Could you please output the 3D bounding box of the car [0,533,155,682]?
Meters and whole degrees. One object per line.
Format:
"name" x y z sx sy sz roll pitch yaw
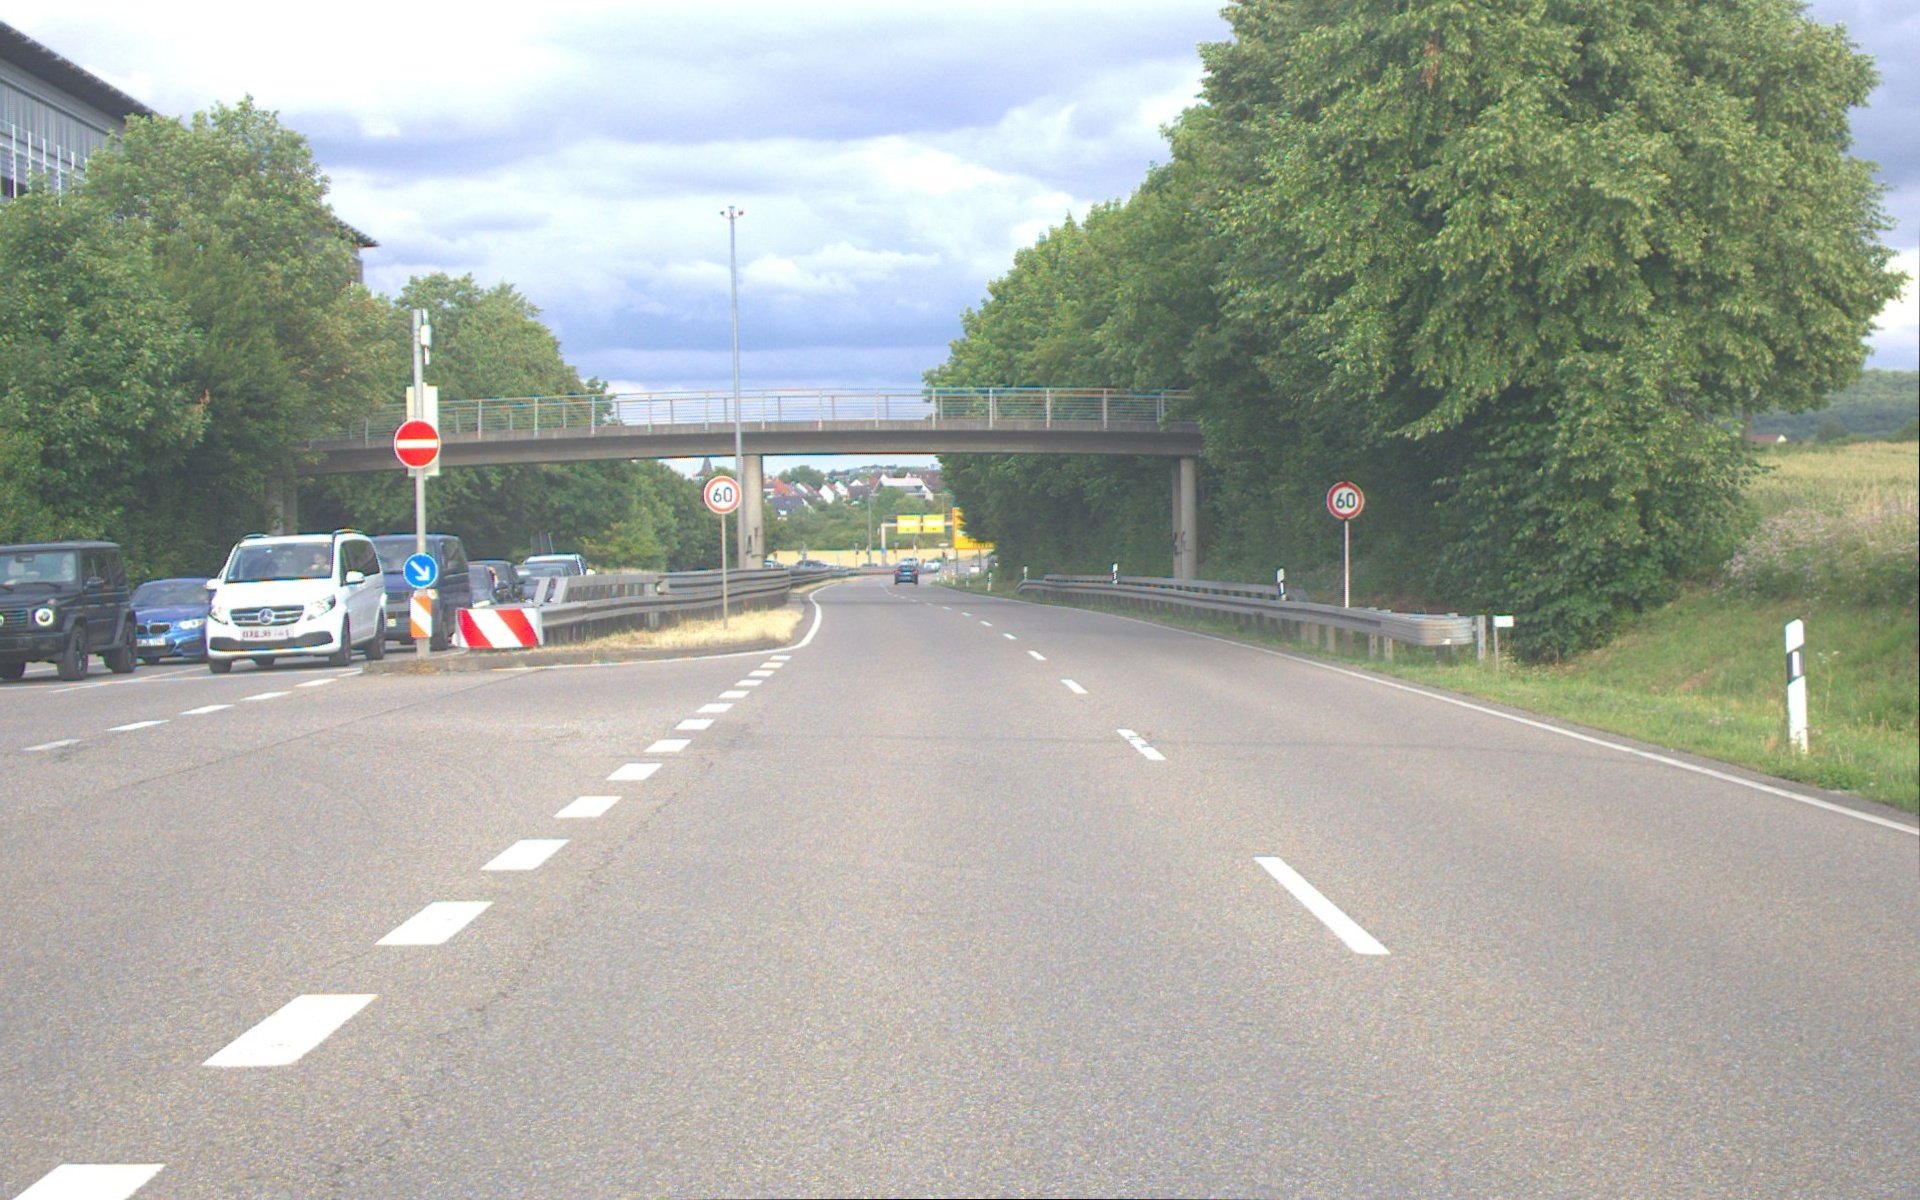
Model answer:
"car" -13.121 0.066 49.258 2.083 2.007 5.217 1 0 -2

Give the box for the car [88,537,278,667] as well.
"car" -12.752 0.004 56.759 2.083 2.007 5.217 1 0 -2

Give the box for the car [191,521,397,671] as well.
"car" -9.487 -0.082 49.368 2.083 2.007 5.217 1 0 -2

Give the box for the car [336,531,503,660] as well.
"car" -8.908 -0.099 57.105 2.083 2.007 5.217 1 0 -2

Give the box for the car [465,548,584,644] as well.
"car" -9.543 -0.111 75.652 2.083 2.007 5.217 1 0 -2

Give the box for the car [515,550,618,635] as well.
"car" -9.735 -0.203 85.469 2.083 2.007 5.217 1 0 -2
